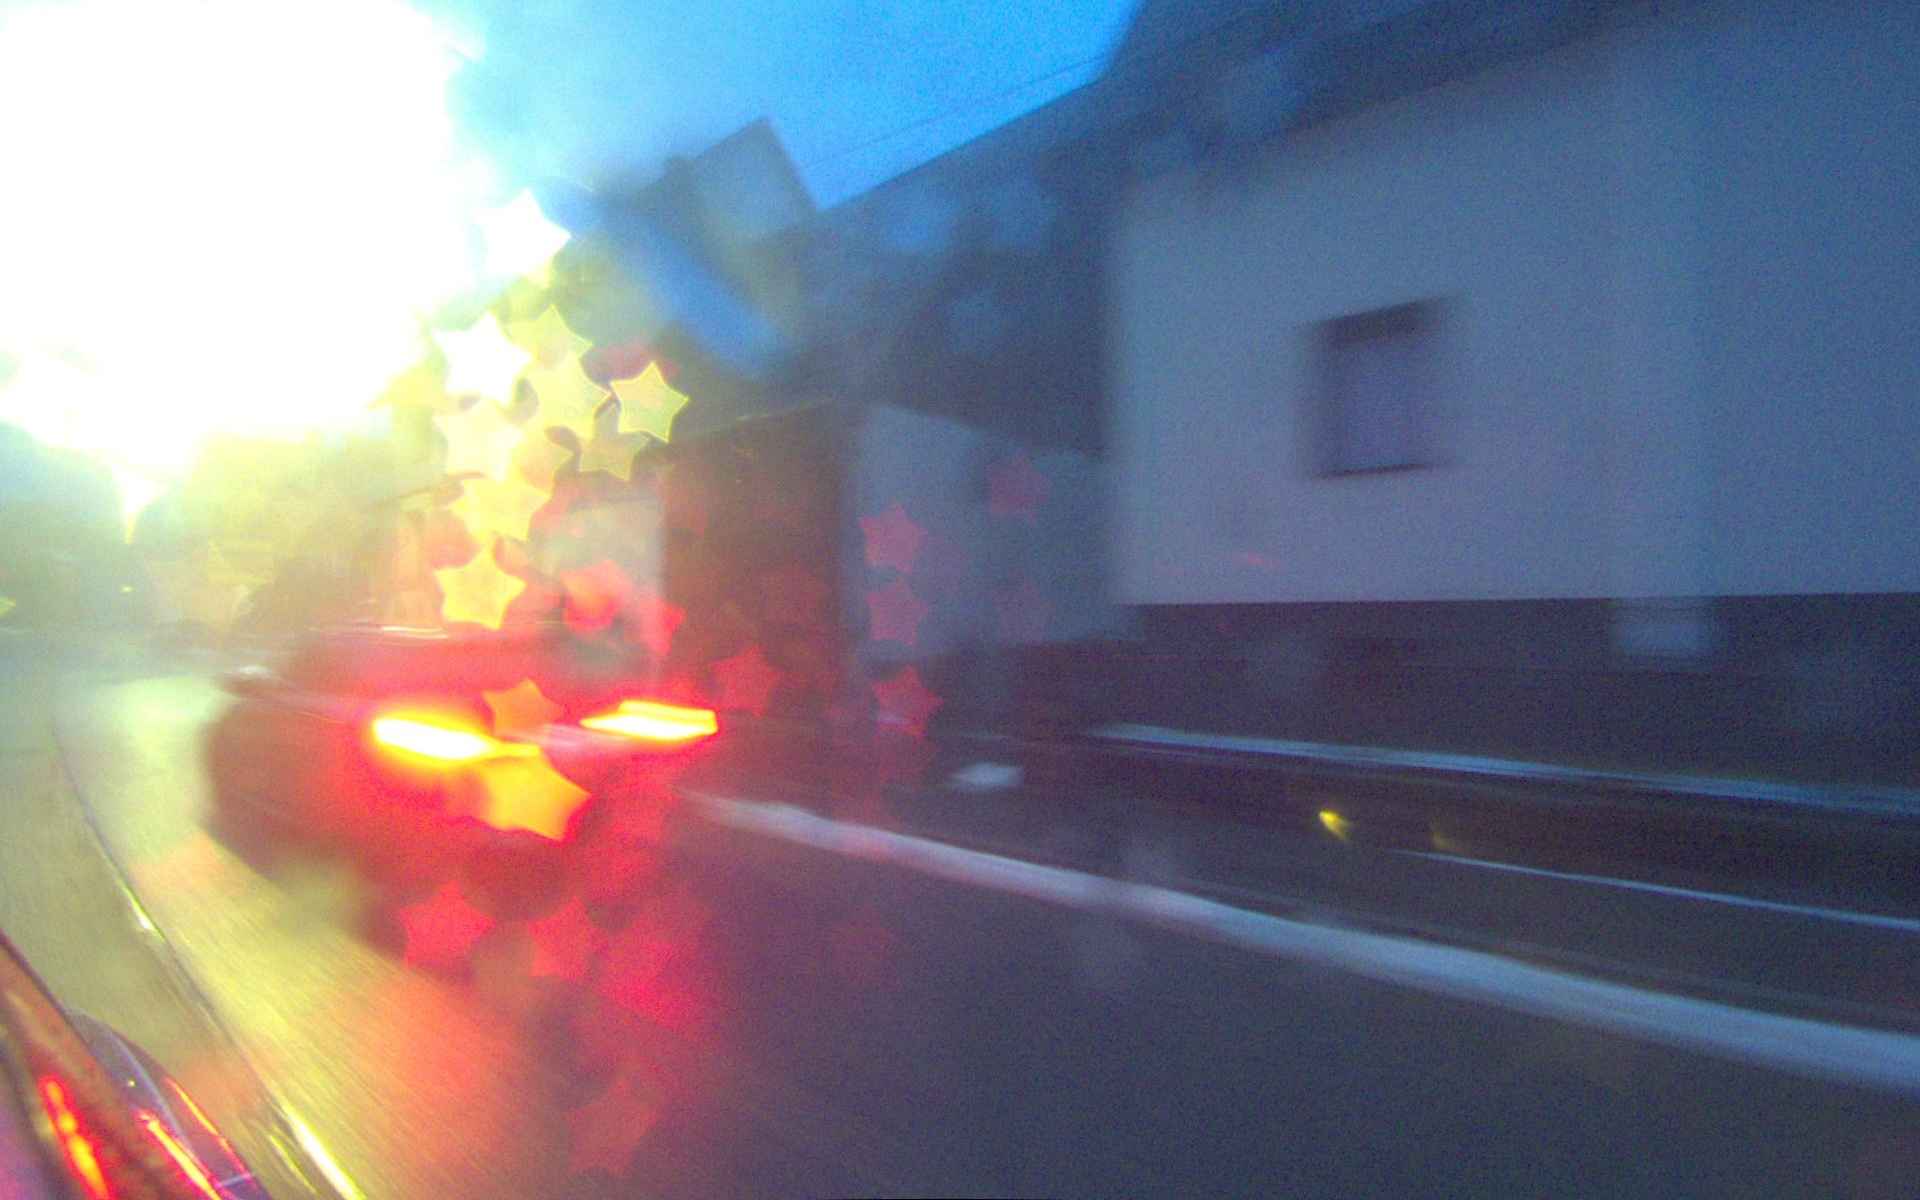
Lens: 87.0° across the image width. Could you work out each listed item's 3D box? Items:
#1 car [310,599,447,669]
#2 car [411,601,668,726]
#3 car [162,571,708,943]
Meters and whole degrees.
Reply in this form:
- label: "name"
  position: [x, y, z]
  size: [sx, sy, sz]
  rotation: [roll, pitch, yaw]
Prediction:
- label: "car"
  position: [-16.705, 0.972, 28.988]
  size: [4.633, 1.749, 1.748]
  rotation: [-2, 2, 39]
- label: "car"
  position: [-6.266, 0.857, 14.850]
  size: [4.192, 1.534, 1.971]
  rotation: [-2, -1, 44]
- label: "car"
  position: [-3.763, 0.736, 6.830]
  size: [4.477, 1.700, 1.821]
  rotation: [0, -1, 42]
